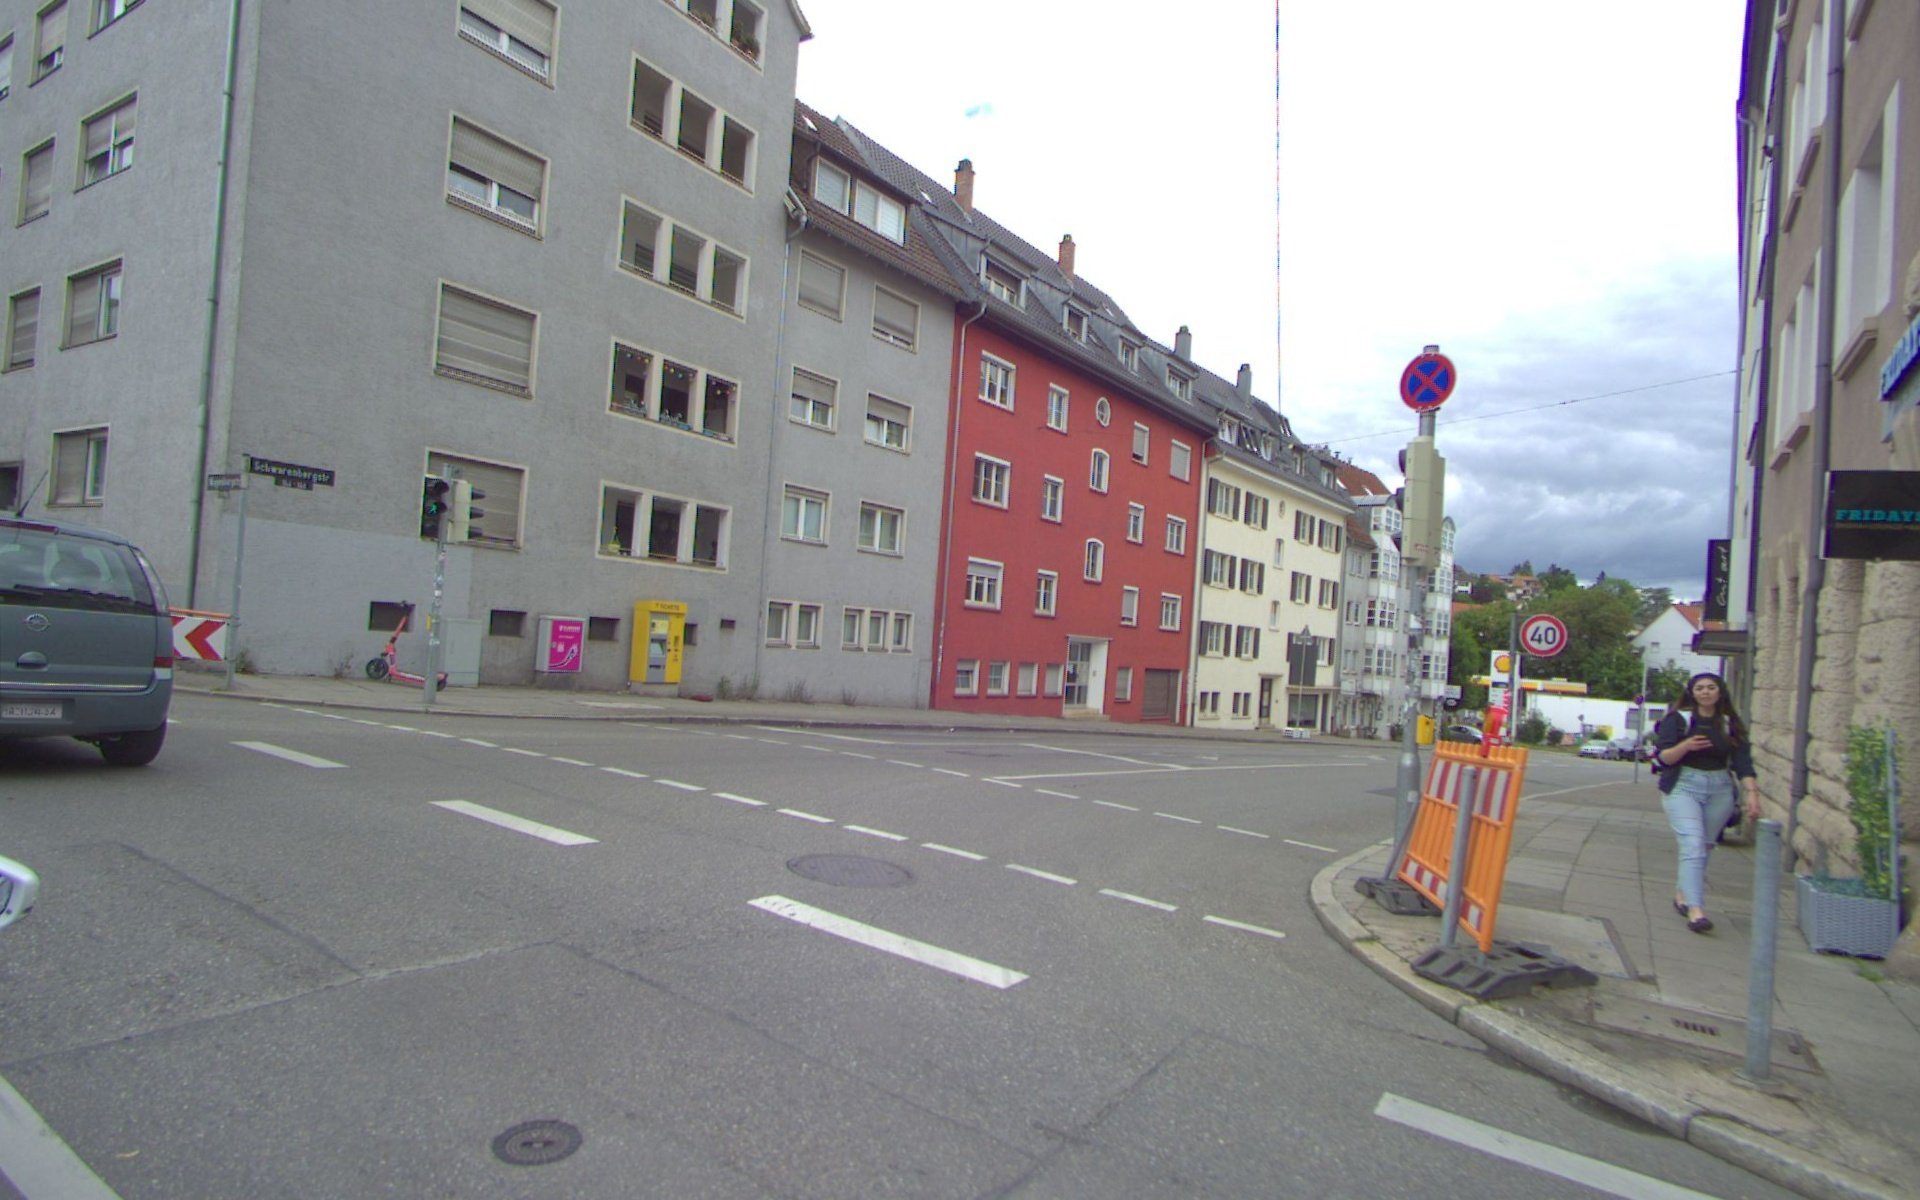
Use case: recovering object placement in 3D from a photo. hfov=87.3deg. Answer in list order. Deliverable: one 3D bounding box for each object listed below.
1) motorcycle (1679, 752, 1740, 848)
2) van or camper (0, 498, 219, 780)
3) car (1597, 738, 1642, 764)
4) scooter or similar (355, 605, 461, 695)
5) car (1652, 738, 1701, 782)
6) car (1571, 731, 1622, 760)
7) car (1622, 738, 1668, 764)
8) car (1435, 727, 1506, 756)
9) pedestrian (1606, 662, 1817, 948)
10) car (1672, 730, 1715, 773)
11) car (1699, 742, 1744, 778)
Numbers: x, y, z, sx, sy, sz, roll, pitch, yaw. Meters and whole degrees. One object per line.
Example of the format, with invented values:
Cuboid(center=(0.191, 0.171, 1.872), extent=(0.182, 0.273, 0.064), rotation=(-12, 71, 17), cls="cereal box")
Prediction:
Cuboid(center=(9.835, 2.586, 13.237), extent=(0.507, 1.094, 1.681), rotation=(2, -5, 33), cls="motorcycle")
Cuboid(center=(-6.887, 0.137, 6.752), extent=(3.586, 1.595, 1.739), rotation=(4, -4, 32), cls="van or camper")
Cuboid(center=(51.847, 11.848, 79.035), extent=(3.973, 1.637, 1.856), rotation=(9, -3, -40), cls="car")
Cuboid(center=(-8.506, 0.772, 15.555), extent=(1.239, 1.230, 0.598), rotation=(7, -2, -22), cls="scooter or similar")
Cuboid(center=(39.250, 8.717, 55.081), extent=(1.842, 1.883, 3.983), rotation=(6, 0, 39), cls="car")
Cuboid(center=(48.149, 10.990, 76.052), extent=(3.968, 1.788, 1.858), rotation=(9, -3, -37), cls="car")
Cuboid(center=(55.805, 12.284, 81.897), extent=(3.968, 1.637, 1.858), rotation=(9, -3, -37), cls="car")
Cuboid(center=(36.198, 10.002, 71.399), extent=(1.981, 1.452, 3.968), rotation=(9, -4, -33), cls="car")
Cuboid(center=(4.978, 1.299, 6.748), extent=(0.721, 1.667, 1.005), rotation=(6, -1, 19), cls="pedestrian")
Cuboid(center=(46.465, 9.565, 63.681), extent=(1.842, 2.258, 3.983), rotation=(6, 0, 39), cls="car")
Cuboid(center=(56.878, 11.974, 75.109), extent=(4.041, 2.308, 1.976), rotation=(10, -4, -44), cls="car")
